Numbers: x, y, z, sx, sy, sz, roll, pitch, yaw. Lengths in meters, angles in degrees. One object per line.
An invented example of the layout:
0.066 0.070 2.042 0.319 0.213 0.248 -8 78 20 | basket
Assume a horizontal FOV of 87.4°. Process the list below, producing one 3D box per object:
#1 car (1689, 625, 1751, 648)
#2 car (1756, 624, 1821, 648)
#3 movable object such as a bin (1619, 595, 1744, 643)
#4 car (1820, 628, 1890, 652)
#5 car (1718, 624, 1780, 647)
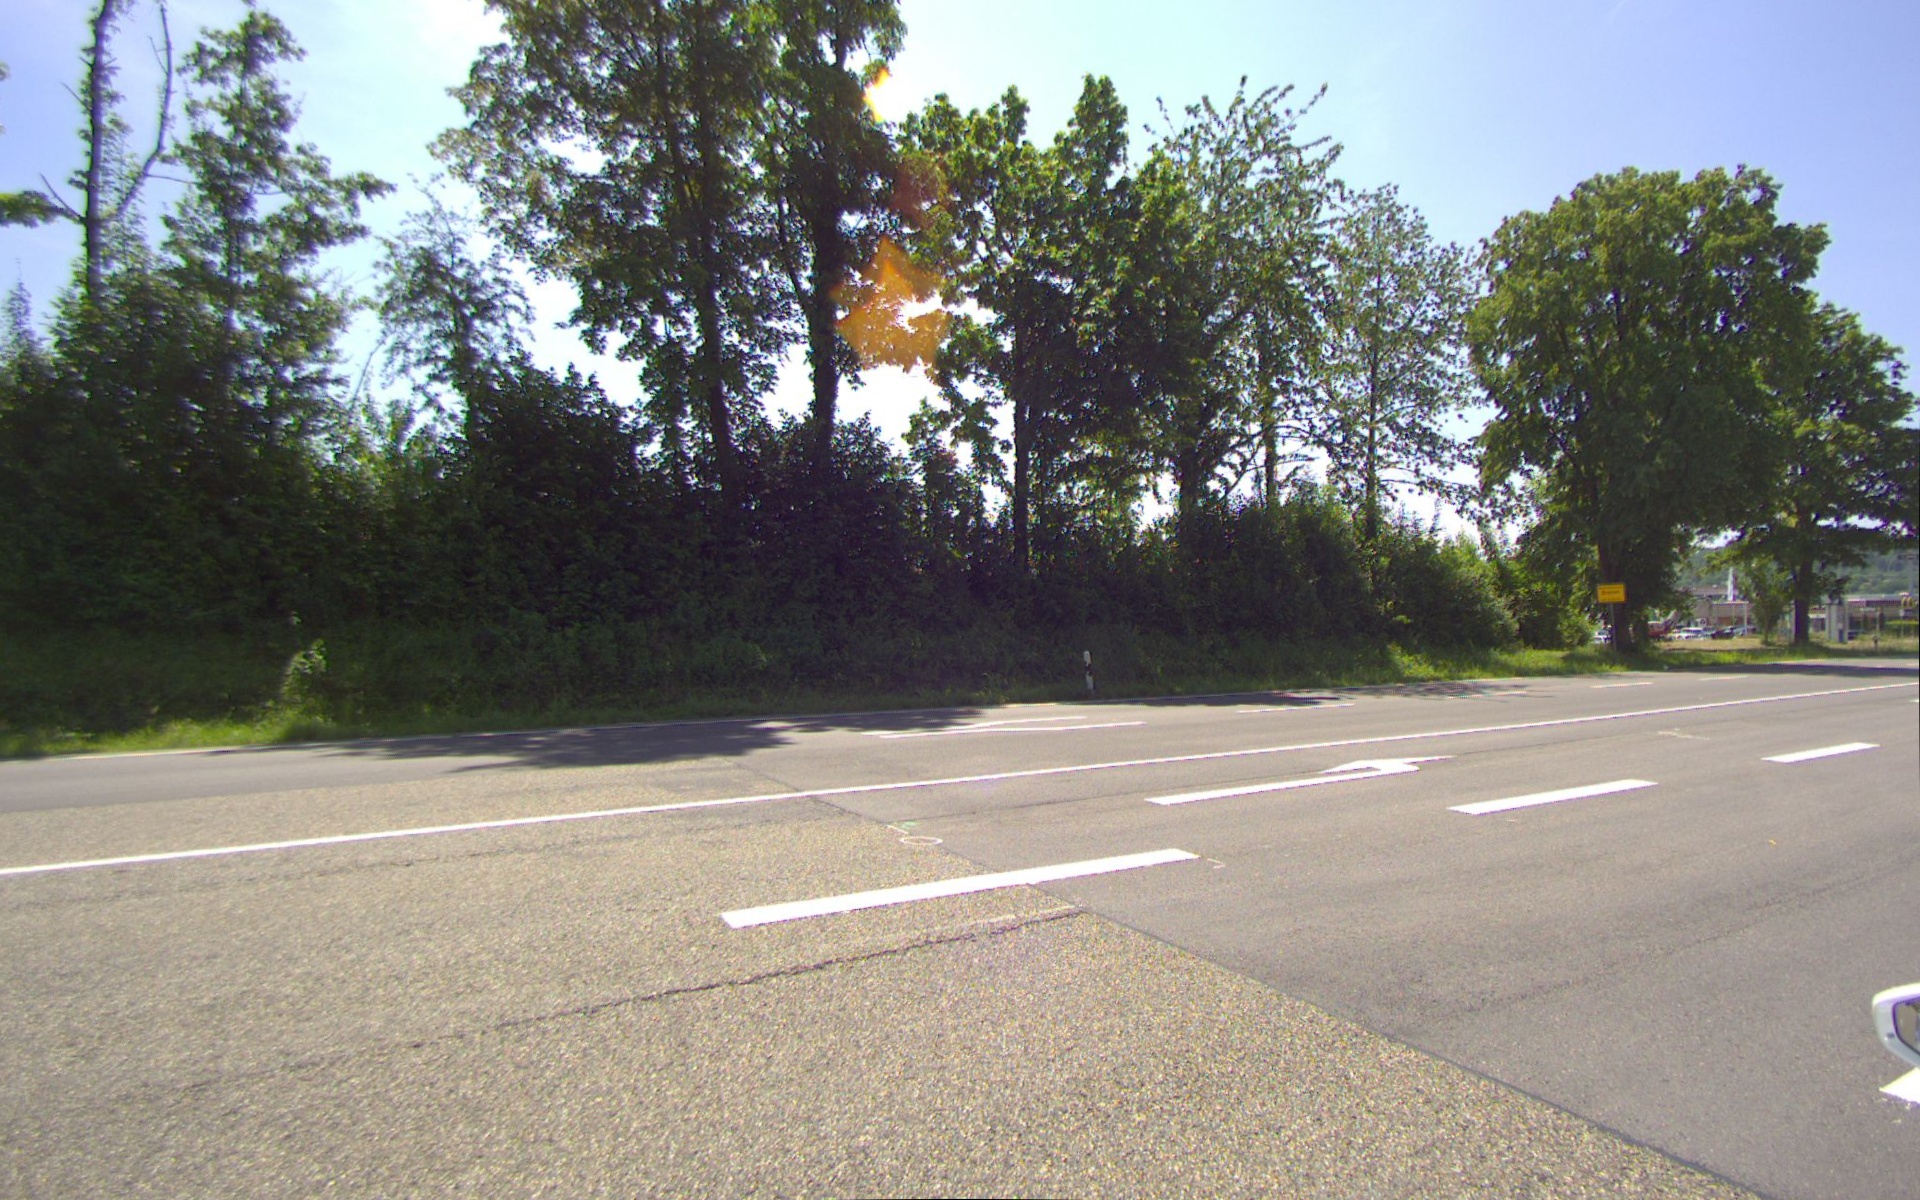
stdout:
57.825 2.755 76.518 1.960 1.673 4.002 1 0 5 | car
62.715 2.705 76.118 1.803 1.639 4.002 1 0 5 | car
51.886 1.342 72.448 6.654 3.342 3.054 0 -1 8 | movable object such as a bin
65.738 2.891 73.834 1.803 1.639 4.002 1 0 5 | car
60.020 2.693 76.470 1.803 1.639 4.002 1 0 5 | car
